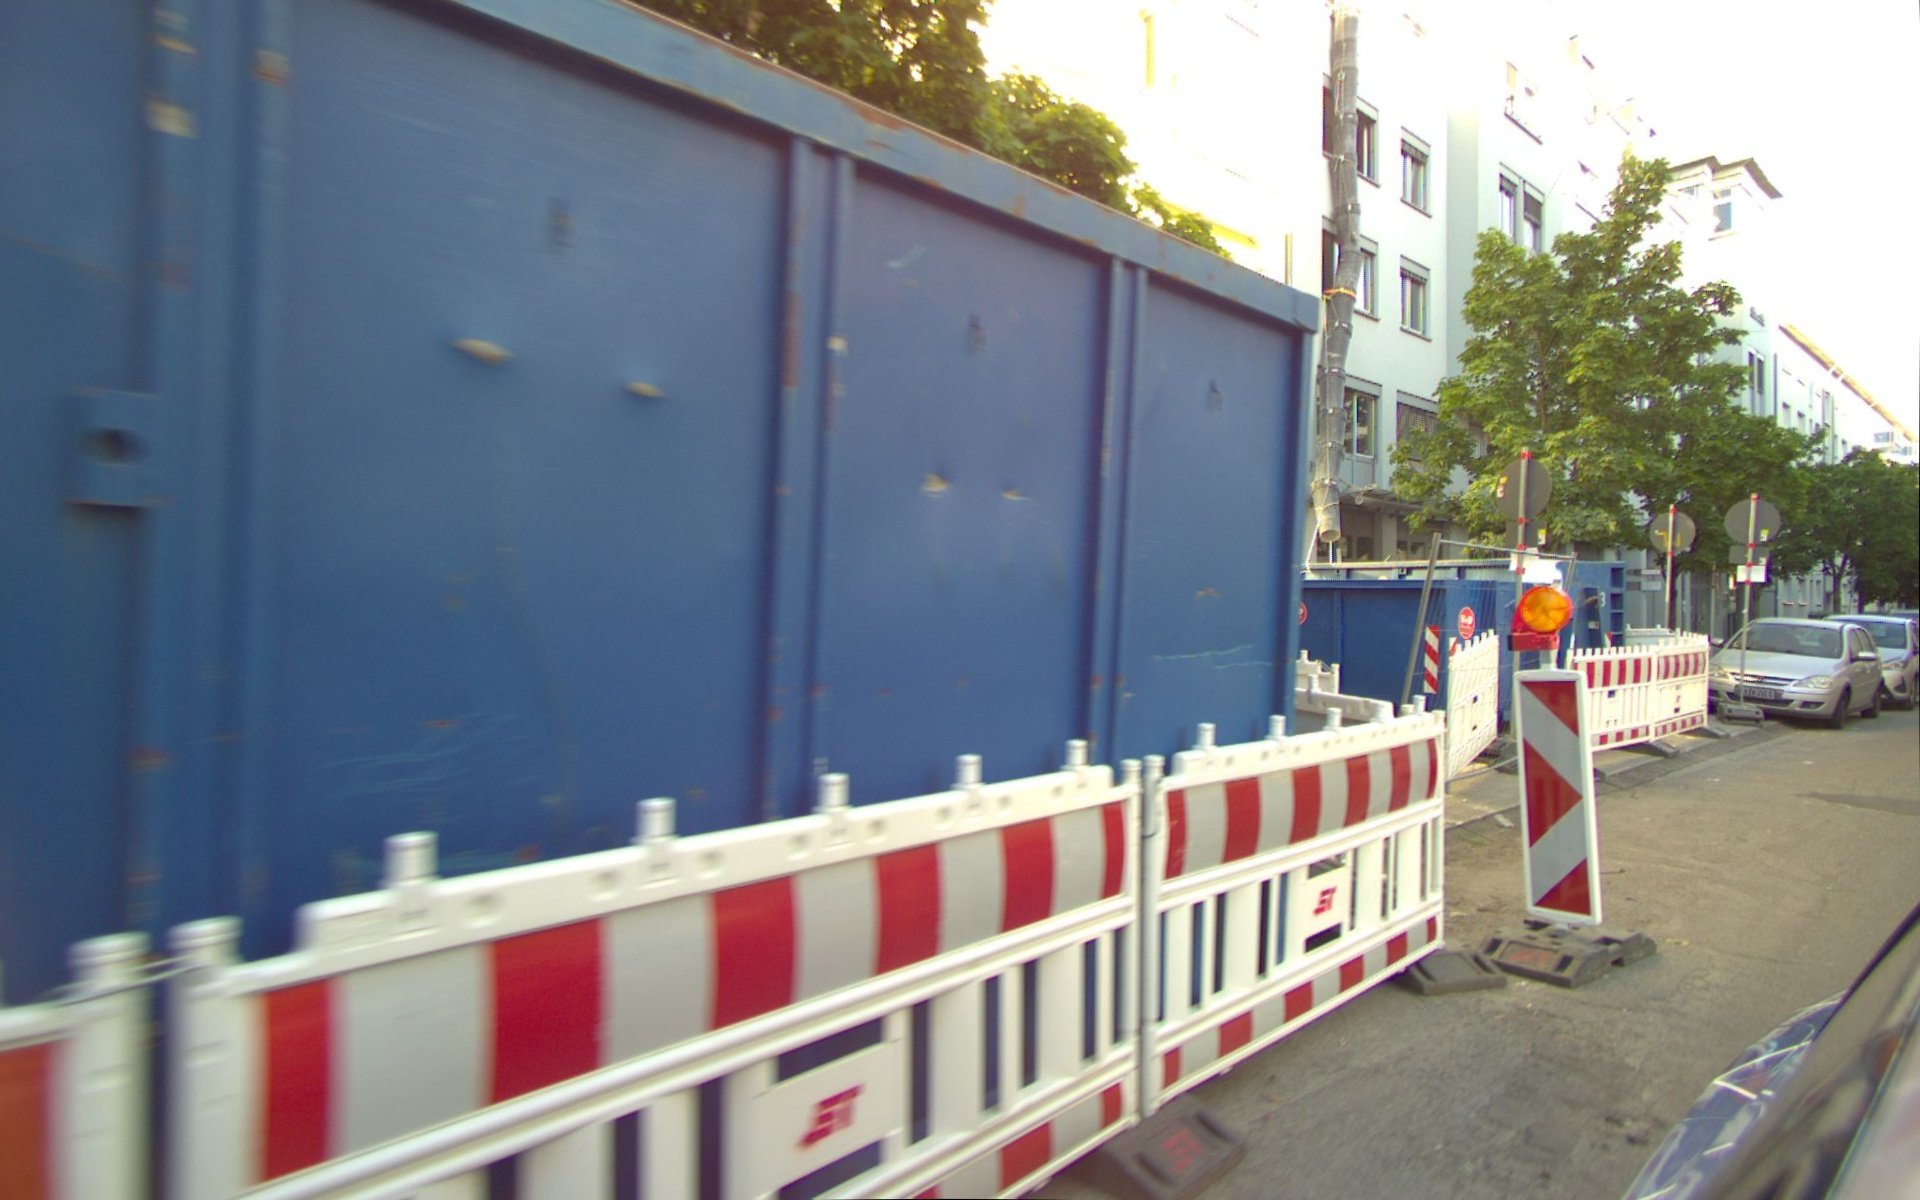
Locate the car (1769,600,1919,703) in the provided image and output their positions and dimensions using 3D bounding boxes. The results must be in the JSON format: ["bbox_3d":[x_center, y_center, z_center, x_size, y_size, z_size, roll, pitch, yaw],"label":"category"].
[{"bbox_3d":[15.994,0.824,17.780,3.927,1.605,1.912,0,-1,-38],"label":"car"}]

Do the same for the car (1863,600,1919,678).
[{"bbox_3d":[22.676,0.860,23.503,4.311,1.711,1.862,0,-1,-39],"label":"car"}]

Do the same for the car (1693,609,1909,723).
[{"bbox_3d":[12.442,0.867,14.903,3.992,1.466,1.638,0,-1,-38],"label":"car"}]
